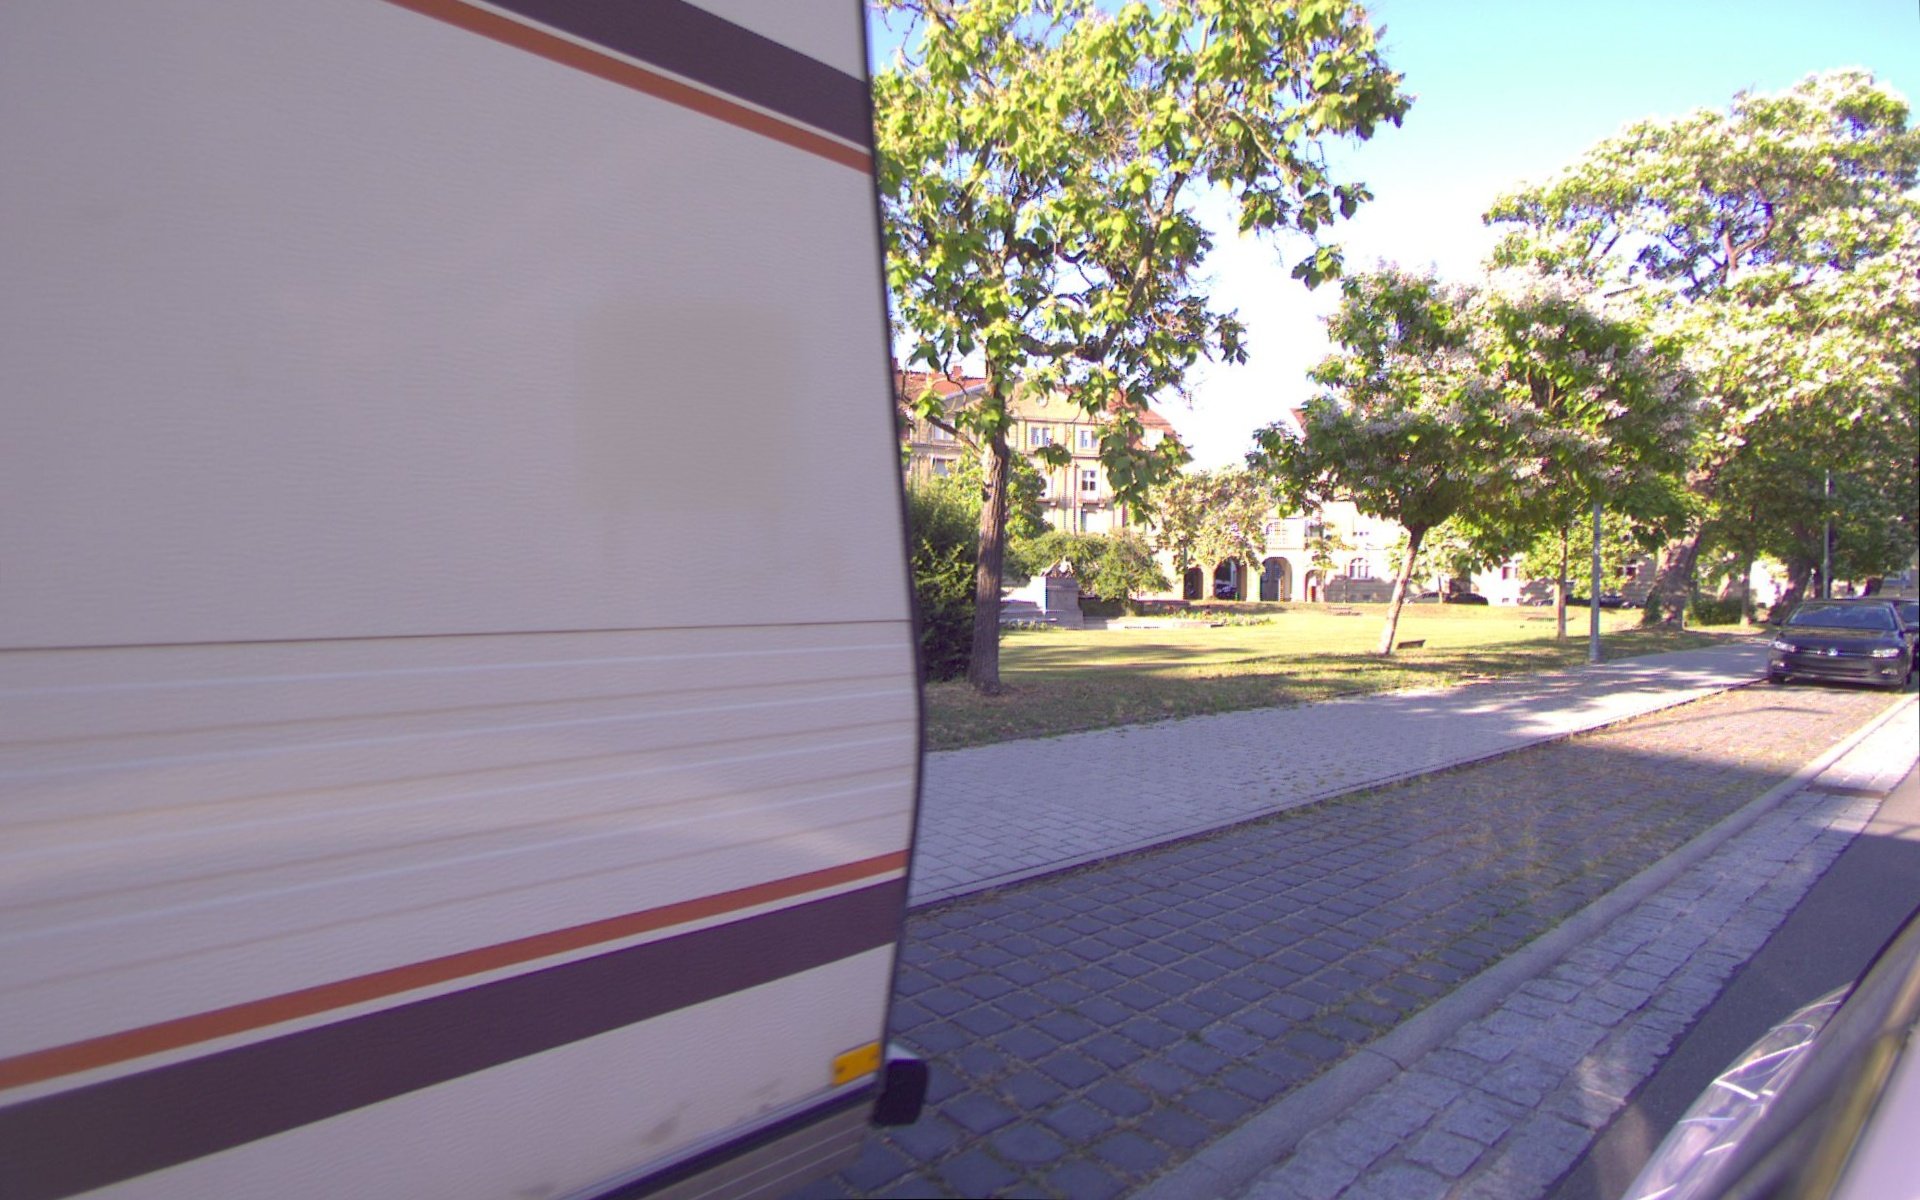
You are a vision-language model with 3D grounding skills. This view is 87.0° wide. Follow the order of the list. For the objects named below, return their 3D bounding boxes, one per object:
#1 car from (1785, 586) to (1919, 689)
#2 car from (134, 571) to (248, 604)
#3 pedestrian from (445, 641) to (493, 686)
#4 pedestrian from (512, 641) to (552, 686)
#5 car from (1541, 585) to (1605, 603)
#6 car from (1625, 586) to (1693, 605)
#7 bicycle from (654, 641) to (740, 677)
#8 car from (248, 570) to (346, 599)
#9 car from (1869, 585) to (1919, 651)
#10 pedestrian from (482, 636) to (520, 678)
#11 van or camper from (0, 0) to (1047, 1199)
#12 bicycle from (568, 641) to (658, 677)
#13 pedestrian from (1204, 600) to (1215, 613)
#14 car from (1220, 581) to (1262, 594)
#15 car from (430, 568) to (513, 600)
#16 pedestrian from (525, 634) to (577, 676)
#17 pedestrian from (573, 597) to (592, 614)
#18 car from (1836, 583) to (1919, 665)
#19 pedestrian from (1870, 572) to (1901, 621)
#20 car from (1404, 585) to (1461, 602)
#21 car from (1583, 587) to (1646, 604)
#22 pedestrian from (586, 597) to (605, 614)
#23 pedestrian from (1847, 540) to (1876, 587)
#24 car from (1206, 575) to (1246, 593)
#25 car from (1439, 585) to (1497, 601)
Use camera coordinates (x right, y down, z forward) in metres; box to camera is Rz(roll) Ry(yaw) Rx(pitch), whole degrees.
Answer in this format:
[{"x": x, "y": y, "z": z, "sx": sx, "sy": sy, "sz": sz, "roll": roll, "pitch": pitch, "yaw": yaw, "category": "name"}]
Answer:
[{"x": 15.265, "y": 0.530, "z": 17.124, "sx": 1.627, "sy": 1.482, "sz": 4.181, "roll": 2, "pitch": 2, "yaw": 45, "category": "car"}, {"x": -36.045, "y": -0.619, "z": 47.551, "sx": 1.855, "sy": 1.471, "sz": 3.979, "roll": 1, "pitch": 2, "yaw": 17, "category": "car"}, {"x": -9.623, "y": 1.230, "z": 19.830, "sx": 0.711, "sy": 0.823, "sz": 0.612, "roll": 0, "pitch": 0, "yaw": -40, "category": "pedestrian"}, {"x": -8.317, "y": 1.233, "z": 19.651, "sx": 0.601, "sy": 0.823, "sz": 0.473, "roll": 0, "pitch": 0, "yaw": -40, "category": "pedestrian"}, {"x": 51.578, "y": -0.505, "z": 85.226, "sx": 4.393, "sy": 1.435, "sz": 1.553, "roll": 1, "pitch": 2, "yaw": 26, "category": "car"}, {"x": 56.898, "y": -0.380, "z": 82.436, "sx": 4.328, "sy": 1.435, "sz": 1.827, "roll": 1, "pitch": 2, "yaw": 29, "category": "car"}, {"x": -5.927, "y": 1.306, "z": 22.694, "sx": 1.774, "sy": 0.622, "sz": 1.775, "roll": 0, "pitch": 1, "yaw": -17, "category": "bicycle"}, {"x": -34.551, "y": -0.837, "z": 52.817, "sx": 1.858, "sy": 1.471, "sz": 3.972, "roll": 1, "pitch": 2, "yaw": 22, "category": "car"}, {"x": 24.559, "y": 0.414, "z": 25.659, "sx": 4.201, "sy": 1.570, "sz": 1.735, "roll": -1, "pitch": 2, "yaw": -41, "category": "car"}, {"x": -9.546, "y": 1.182, "z": 21.045, "sx": 0.601, "sy": 0.823, "sz": 0.473, "roll": 0, "pitch": 0, "yaw": -40, "category": "pedestrian"}, {"x": -2.636, "y": -0.118, "z": 0.775, "sx": 5.578, "sy": 2.940, "sz": 2.237, "roll": -2, "pitch": 3, "yaw": -43, "category": "van or camper"}, {"x": -7.457, "y": 1.251, "z": 21.874, "sx": 1.774, "sy": 0.622, "sz": 1.775, "roll": 0, "pitch": 1, "yaw": -17, "category": "bicycle"}, {"x": 18.064, "y": 0.481, "z": 73.310, "sx": 0.663, "sy": 0.892, "sz": 0.579, "roll": 0, "pitch": 0, "yaw": -4, "category": "pedestrian"}, {"x": 32.622, "y": -1.462, "z": 117.368, "sx": 4.283, "sy": 1.435, "sz": 1.822, "roll": 0, "pitch": 1, "yaw": -7, "category": "car"}, {"x": -27.269, "y": -0.856, "z": 56.663, "sx": 1.975, "sy": 1.727, "sz": 3.973, "roll": 0, "pitch": 0, "yaw": 20, "category": "car"}, {"x": -8.775, "y": 1.168, "z": 21.743, "sx": 0.563, "sy": 0.823, "sz": 1.258, "roll": 0, "pitch": 0, "yaw": 4, "category": "pedestrian"}, {"x": -18.430, "y": 0.251, "z": 49.382, "sx": 0.584, "sy": 0.804, "sz": 0.658, "roll": 1, "pitch": 2, "yaw": 37, "category": "pedestrian"}, {"x": 20.038, "y": 0.434, "z": 21.495, "sx": 4.349, "sy": 1.570, "sz": 1.734, "roll": -1, "pitch": 2, "yaw": -43, "category": "car"}, {"x": 33.553, "y": -0.142, "z": 36.674, "sx": 0.719, "sy": 1.758, "sz": 0.754, "roll": 0, "pitch": 0, "yaw": -41, "category": "pedestrian"}, {"x": 41.631, "y": -0.571, "z": 89.275, "sx": 4.315, "sy": 1.435, "sz": 1.809, "roll": 1, "pitch": 2, "yaw": 19, "category": "car"}, {"x": 57.441, "y": -0.430, "z": 88.896, "sx": 4.410, "sy": 1.340, "sz": 1.492, "roll": 1, "pitch": 2, "yaw": 27, "category": "car"}, {"x": -17.998, "y": 0.258, "z": 49.975, "sx": 0.584, "sy": 0.804, "sz": 0.658, "roll": 1, "pitch": 2, "yaw": 37, "category": "pedestrian"}, {"x": 33.797, "y": -1.355, "z": 37.949, "sx": 0.719, "sy": 1.758, "sz": 0.726, "roll": 0, "pitch": 0, "yaw": -41, "category": "pedestrian"}, {"x": 32.467, "y": -1.997, "z": 123.649, "sx": 4.285, "sy": 2.134, "sz": 1.821, "roll": 0, "pitch": 1, "yaw": -4, "category": "car"}, {"x": 47.028, "y": -0.659, "z": 93.768, "sx": 4.587, "sy": 1.435, "sz": 1.810, "roll": 1, "pitch": 1, "yaw": 18, "category": "car"}]
